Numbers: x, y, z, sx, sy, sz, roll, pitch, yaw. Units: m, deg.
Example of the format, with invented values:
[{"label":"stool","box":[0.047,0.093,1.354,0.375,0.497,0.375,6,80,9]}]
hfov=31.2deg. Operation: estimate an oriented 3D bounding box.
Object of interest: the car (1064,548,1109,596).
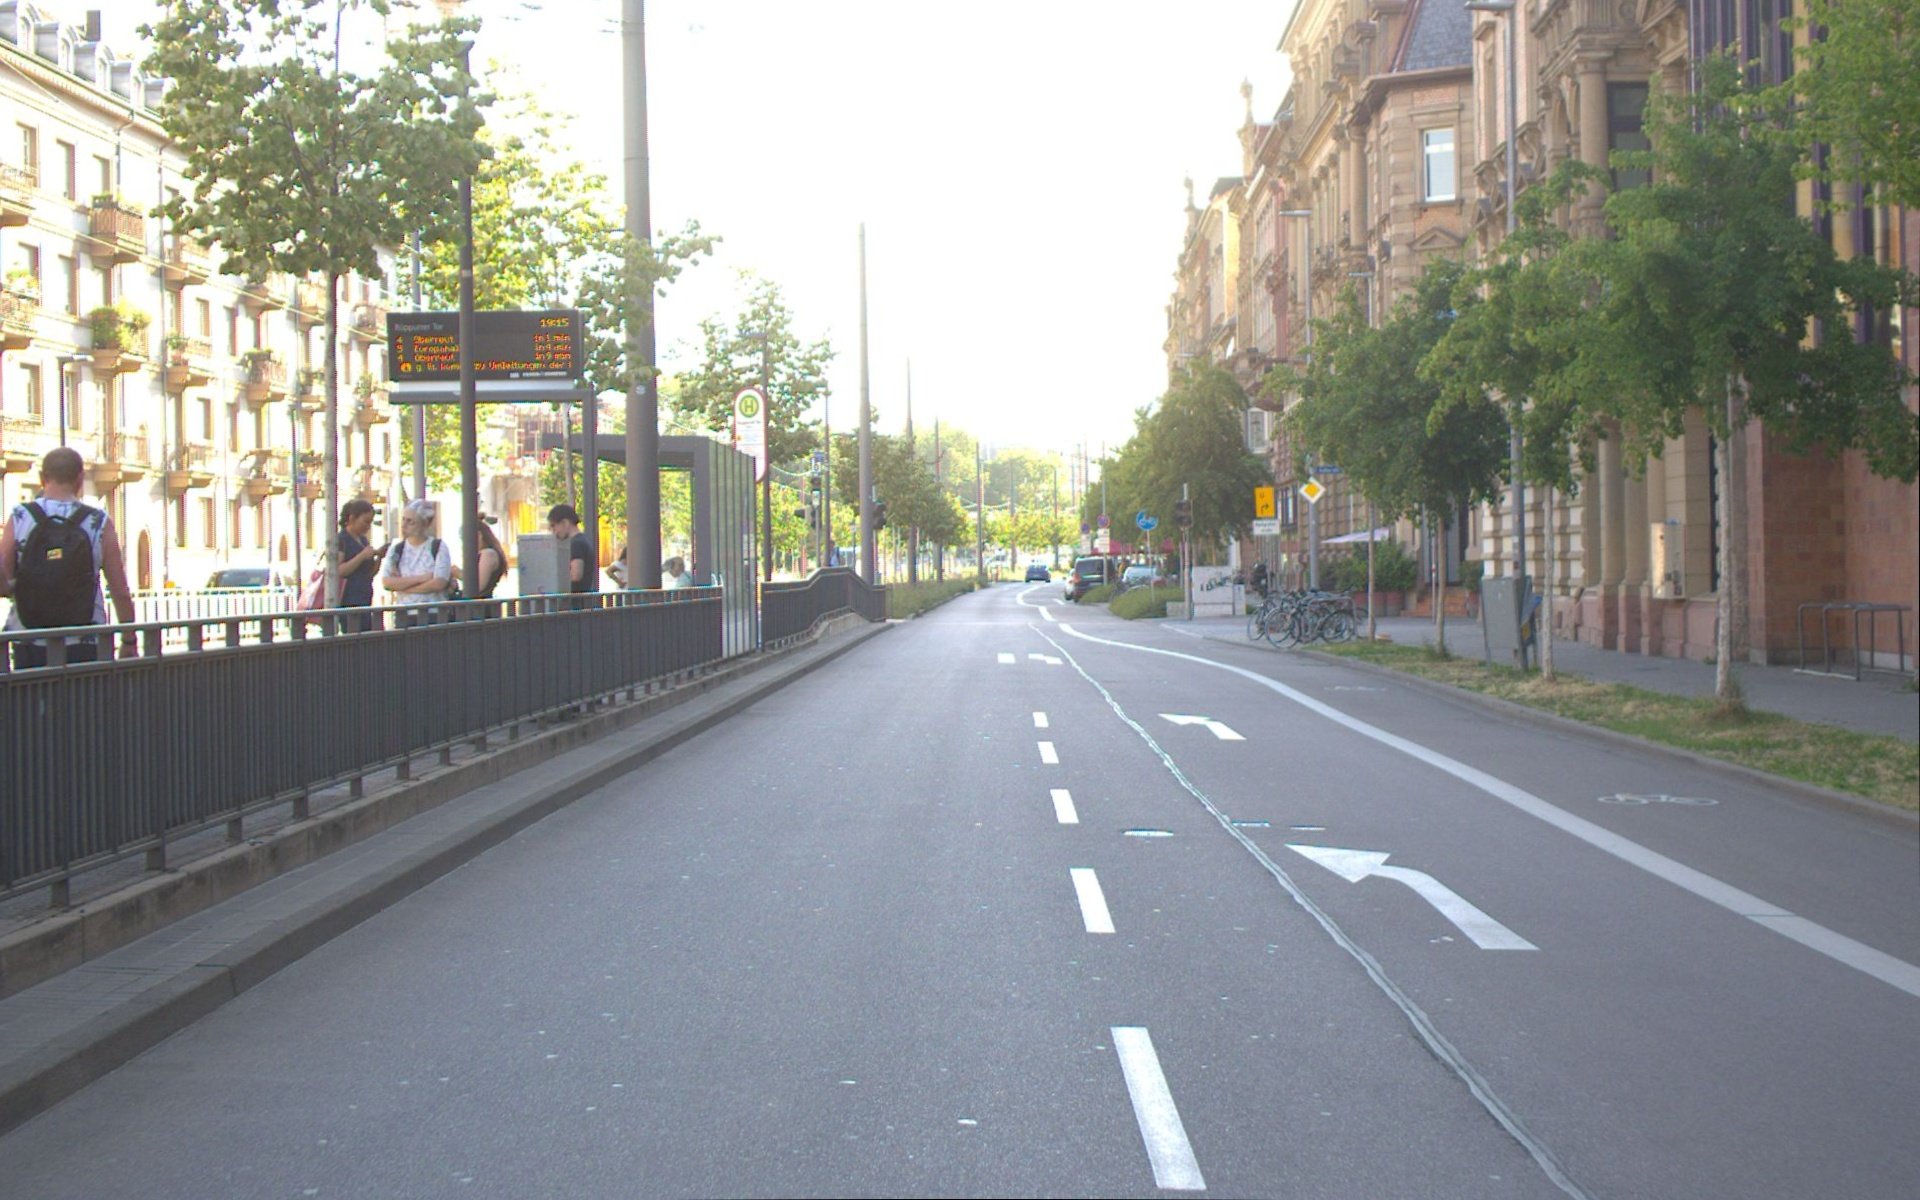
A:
[{"label":"car","box":[5.543,-1.234,149.941,1.885,1.930,4.473,-1,2,3]}]

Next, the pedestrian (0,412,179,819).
[{"label":"pedestrian","box":[-3.912,0.062,14.682,0.888,1.666,1.096,-1,0,-1]}]

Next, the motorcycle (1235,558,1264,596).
[{"label":"motorcycle","box":[10.776,-0.869,128.131,0.795,1.304,2.852,-3,1,1]}]

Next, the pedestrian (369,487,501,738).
[{"label":"pedestrian","box":[-3.337,0.073,21.908,0.673,1.556,0.906,-1,0,1]}]

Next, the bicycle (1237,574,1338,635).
[{"label":"bicycle","box":[6.425,0.078,67.420,1.825,1.061,0.664,-4,2,-4]}]

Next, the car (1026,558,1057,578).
[{"label":"car","box":[6.059,-2.369,255.211,1.798,1.459,3.999,-1,1,8]}]

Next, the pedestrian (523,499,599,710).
[{"label":"pedestrian","box":[-3.210,0.035,27.722,0.505,1.673,0.651,-1,0,1]}]

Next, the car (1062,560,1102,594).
[{"label":"car","box":[5.813,-1.104,163.214,1.850,1.452,4.156,-1,2,3]}]

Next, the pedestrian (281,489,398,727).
[{"label":"pedestrian","box":[-4.578,0.057,25.393,0.719,1.726,0.651,-1,0,1]}]

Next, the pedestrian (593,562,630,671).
[{"label":"pedestrian","box":[-4.422,0.206,43.603,0.428,1.381,0.408,-1,0,-11]}]

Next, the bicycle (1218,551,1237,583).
[{"label":"bicycle","box":[12.164,-1.494,156.469,0.661,1.397,2.352,-1,1,0]}]

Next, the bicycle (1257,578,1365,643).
[{"label":"bicycle","box":[6.452,0.193,63.189,1.825,1.061,0.664,-4,2,-4]}]

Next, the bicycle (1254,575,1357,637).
[{"label":"bicycle","box":[6.624,0.115,65.942,1.825,1.061,0.664,-4,2,-4]}]

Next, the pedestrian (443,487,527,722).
[{"label":"pedestrian","box":[-3.538,0.030,25.662,0.505,1.726,0.651,-1,0,1]}]

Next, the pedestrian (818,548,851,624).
[{"label":"pedestrian","box":[-2.701,-0.298,74.178,0.655,1.637,0.867,0,-1,1]}]

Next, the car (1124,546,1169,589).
[{"label":"car","box":[7.236,-1.263,133.049,1.637,1.481,4.211,-3,2,4]}]

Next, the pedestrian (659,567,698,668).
[{"label":"pedestrian","box":[-3.344,0.201,40.786,0.406,1.186,0.430,-1,0,-11]}]

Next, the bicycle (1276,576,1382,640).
[{"label":"bicycle","box":[6.930,0.147,64.550,1.825,1.061,0.664,-4,2,-4]}]
